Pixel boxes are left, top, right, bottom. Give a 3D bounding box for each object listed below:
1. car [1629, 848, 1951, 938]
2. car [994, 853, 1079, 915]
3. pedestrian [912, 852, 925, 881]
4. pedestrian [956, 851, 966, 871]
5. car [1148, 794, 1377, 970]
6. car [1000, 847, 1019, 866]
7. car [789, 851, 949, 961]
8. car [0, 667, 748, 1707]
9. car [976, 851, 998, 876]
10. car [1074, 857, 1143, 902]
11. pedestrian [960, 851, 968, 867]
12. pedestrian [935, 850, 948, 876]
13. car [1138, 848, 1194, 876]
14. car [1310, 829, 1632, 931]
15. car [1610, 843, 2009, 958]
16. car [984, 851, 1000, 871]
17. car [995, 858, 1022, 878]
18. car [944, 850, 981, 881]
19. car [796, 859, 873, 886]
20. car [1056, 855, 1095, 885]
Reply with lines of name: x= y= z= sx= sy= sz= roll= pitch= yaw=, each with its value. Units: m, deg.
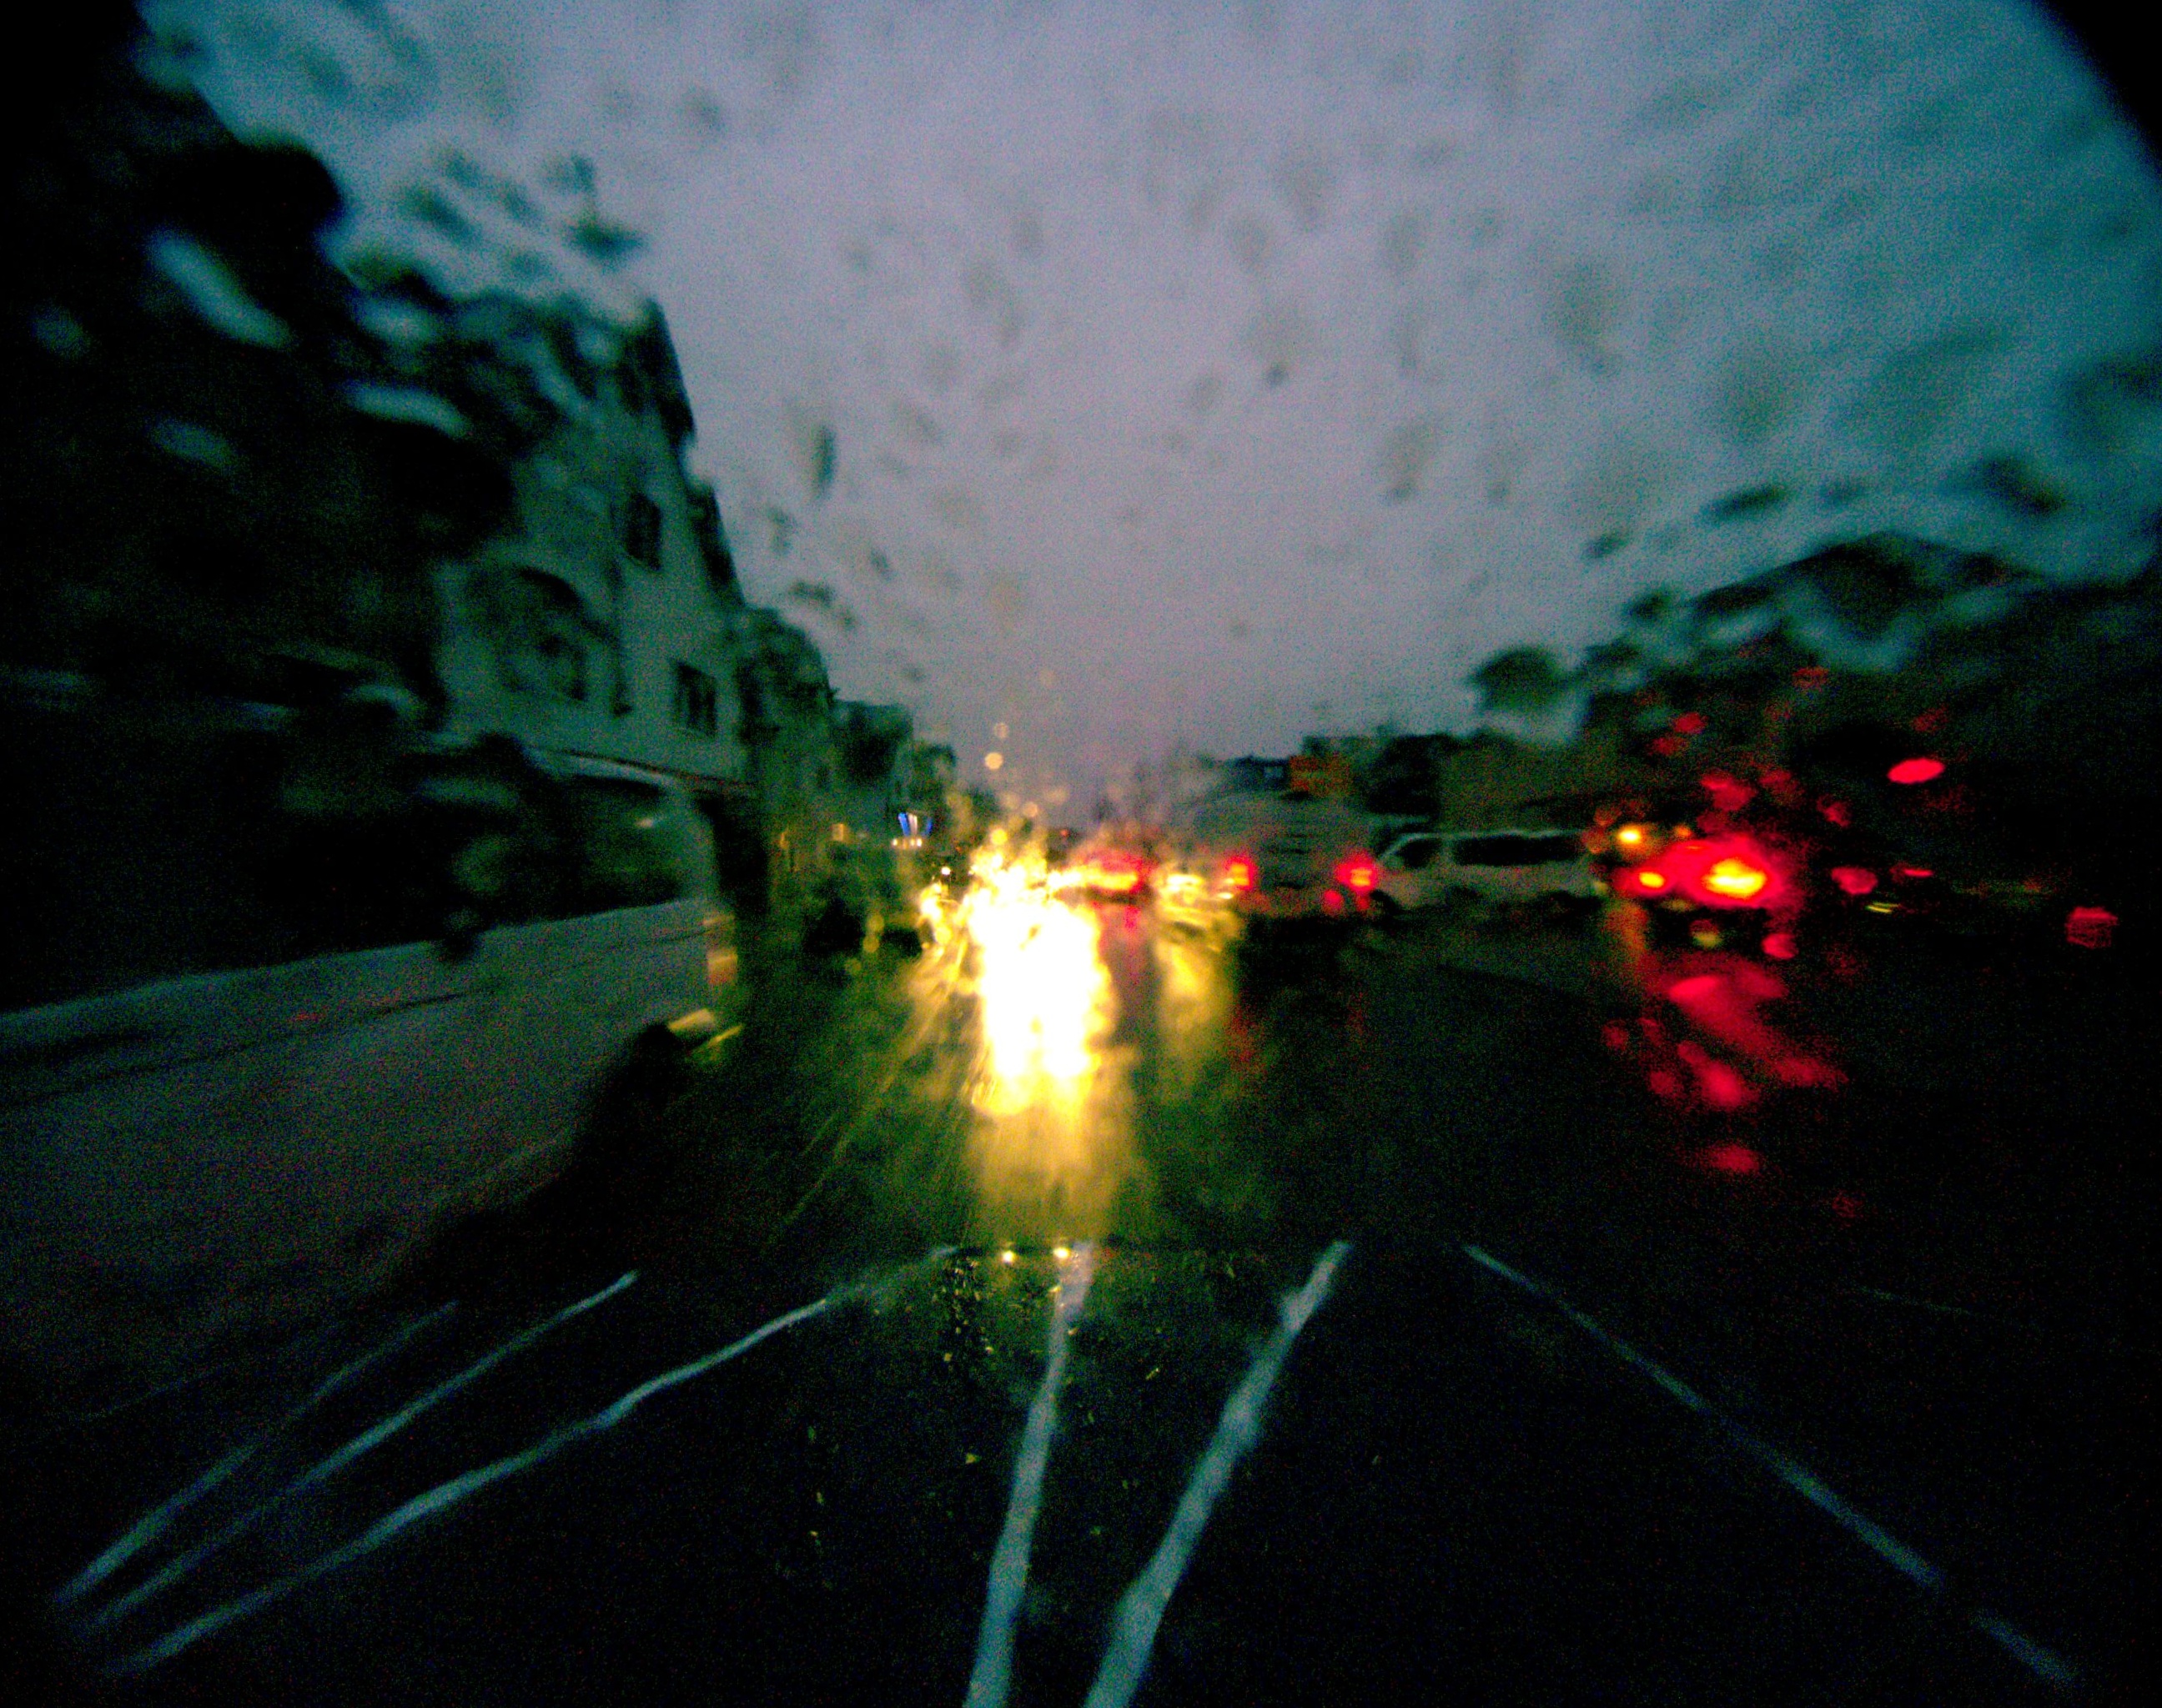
car: x=14.754 y=0.780 z=16.073 sx=4.764 sy=1.626 sz=2.001 roll=2 pitch=-1 yaw=4
car: x=-1.288 y=0.806 z=22.960 sx=2.270 sy=1.633 sz=5.064 roll=-1 pitch=0 yaw=-2
pedestrian: x=-9.796 y=0.740 z=45.792 sx=0.609 sy=1.710 sz=0.650 roll=2 pitch=0 yaw=0
pedestrian: x=-10.751 y=0.635 z=68.245 sx=0.820 sy=1.754 sz=1.059 roll=0 pitch=0 yaw=-6
car: x=2.859 y=0.394 z=13.827 sx=2.201 sy=2.476 sz=6.139 roll=0 pitch=0 yaw=-5
car: x=-7.796 y=0.284 z=82.733 sx=1.866 sy=2.002 sz=3.841 roll=0 pitch=0 yaw=-9
car: x=-3.563 y=0.787 z=13.647 sx=1.980 sy=1.651 sz=4.458 roll=0 pitch=0 yaw=-5
car: x=-2.876 y=0.646 z=1.715 sx=1.978 sy=1.948 sz=4.852 roll=0 pitch=0 yaw=2
car: x=-7.844 y=0.793 z=63.521 sx=1.749 sy=2.001 sz=3.806 roll=2 pitch=-1 yaw=-6
car: x=0.916 y=0.856 z=27.740 sx=1.831 sy=1.509 sz=4.545 roll=0 pitch=0 yaw=-7
pedestrian: x=-11.558 y=0.461 z=75.149 sx=0.656 sy=1.596 sz=0.723 roll=0 pitch=0 yaw=-3
pedestrian: x=-9.455 y=0.616 z=51.532 sx=0.650 sy=1.786 sz=0.508 roll=2 pitch=0 yaw=6
car: x=6.257 y=0.586 z=56.259 sx=3.807 sy=1.940 sz=1.749 roll=2 pitch=-1 yaw=-6
car: x=8.062 y=0.560 z=16.291 sx=5.771 sy=1.934 sz=1.992 roll=-1 pitch=0 yaw=8
car: x=11.328 y=0.648 z=12.061 sx=4.448 sy=1.623 sz=2.154 roll=0 pitch=1 yaw=-5
car: x=-9.361 y=0.727 z=80.202 sx=1.532 sy=2.002 sz=3.998 roll=0 pitch=0 yaw=-5
car: x=-4.640 y=0.883 z=48.551 sx=1.666 sy=1.205 sz=3.775 roll=0 pitch=0 yaw=-6
car: x=-7.047 y=0.657 z=45.519 sx=2.000 sy=1.774 sz=4.517 roll=0 pitch=0 yaw=-6
car: x=-13.310 y=0.965 z=41.147 sx=3.557 sy=1.378 sz=1.661 roll=1 pitch=0 yaw=6
car: x=-0.332 y=0.813 z=40.057 sx=1.624 sy=1.471 sz=3.836 roll=1 pitch=0 yaw=-6
